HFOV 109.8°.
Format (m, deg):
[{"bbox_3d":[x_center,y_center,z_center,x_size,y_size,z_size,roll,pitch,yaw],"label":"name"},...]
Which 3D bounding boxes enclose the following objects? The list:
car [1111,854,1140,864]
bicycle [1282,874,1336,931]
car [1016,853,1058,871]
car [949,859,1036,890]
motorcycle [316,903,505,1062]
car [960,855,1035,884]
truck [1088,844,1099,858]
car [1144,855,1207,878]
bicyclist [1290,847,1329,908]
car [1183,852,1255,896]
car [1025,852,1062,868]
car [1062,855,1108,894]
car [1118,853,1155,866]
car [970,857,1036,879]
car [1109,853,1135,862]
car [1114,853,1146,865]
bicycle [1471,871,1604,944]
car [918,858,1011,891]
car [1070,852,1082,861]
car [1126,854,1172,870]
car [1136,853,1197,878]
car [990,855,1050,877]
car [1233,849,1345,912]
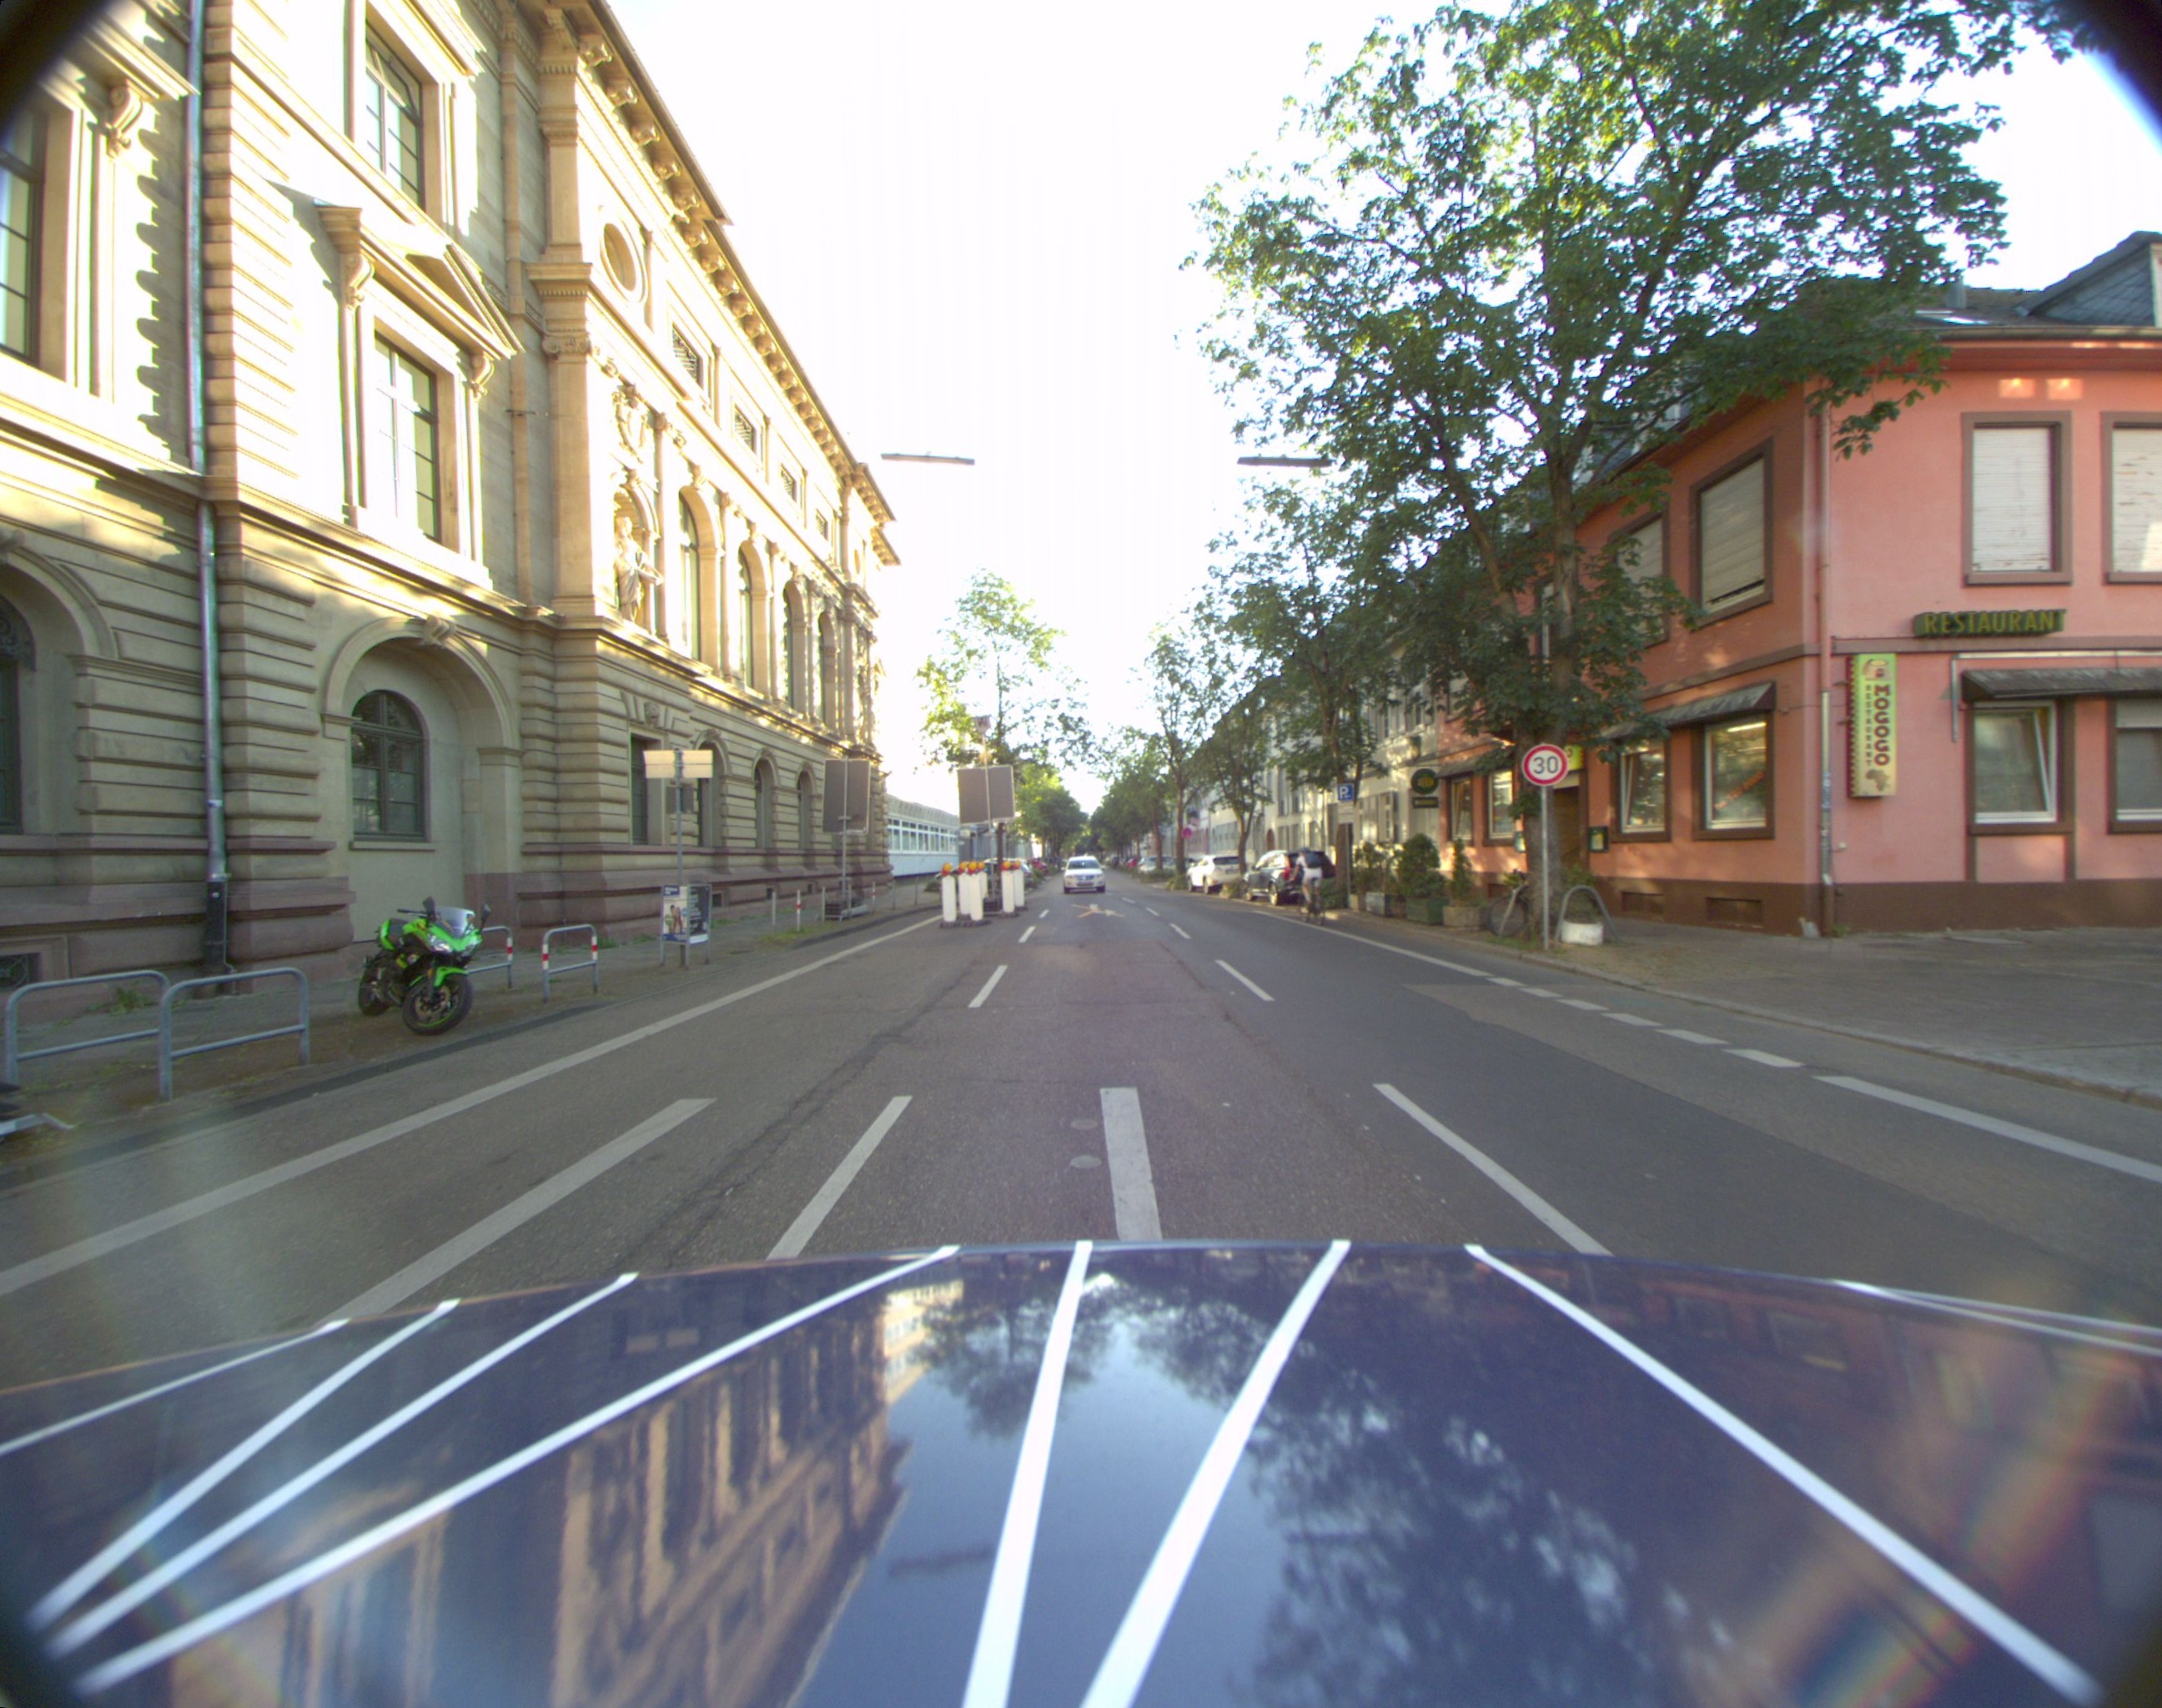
[{"bbox_3d":[6.695,0.693,115.864,4.230,1.468,1.969,-1,0,-2],"label":"car"},{"bbox_3d":[5.297,1.096,17.774,0.626,1.149,2.052,-1,2,-1],"label":"bicycle"},{"bbox_3d":[-4.667,0.813,80.498,4.369,1.768,1.733,1,0,-2],"label":"car"},{"bbox_3d":[-4.615,1.053,40.186,4.368,1.486,1.672,1,0,0],"label":"car"},{"bbox_3d":[-6.421,1.139,7.245,2.098,1.208,0.711,1,1,30],"label":"motorcycle"},{"bbox_3d":[-5.061,0.912,46.653,4.369,1.633,2.054,1,0,-2],"label":"car"},{"bbox_3d":[3.506,-0.750,206.905,2.748,3.723,7.855,-1,0,2],"label":"truck"},{"bbox_3d":[6.513,0.871,52.789,4.228,1.536,1.801,-1,0,3],"label":"car"},{"bbox_3d":[5.294,0.527,17.650,0.626,1.357,0.929,-1,2,0],"label":"bicyclist"},{"bbox_3d":[6.064,0.828,34.048,1.833,1.658,4.654,-5,1,-6],"label":"car"},{"bbox_3d":[-4.509,0.735,92.139,4.369,1.862,1.733,0,0,-2],"label":"car"},{"bbox_3d":[0.202,0.895,35.342,1.957,1.667,4.542,-1,0,1],"label":"car"},{"bbox_3d":[6.763,0.693,92.583,4.230,1.509,1.759,-1,0,-2],"label":"car"},{"bbox_3d":[-5.355,0.971,52.568,4.369,1.485,1.886,1,0,-2],"label":"car"},{"bbox_3d":[6.934,0.631,129.860,4.230,1.468,1.969,-1,0,-2],"label":"car"},{"bbox_3d":[6.624,0.685,103.243,4.230,1.468,1.853,-1,0,-2],"label":"car"},{"bbox_3d":[7.489,0.867,12.486,1.872,1.098,0.610,-1,1,-6],"label":"bicycle"},{"bbox_3d":[-5.694,0.991,37.562,4.369,1.455,1.833,1,0,-4],"label":"car"},{"bbox_3d":[-0.798,0.429,125.664,1.951,1.546,3.999,-1,0,-1],"label":"car"},{"bbox_3d":[6.561,0.780,73.707,4.230,1.499,1.800,-1,0,-2],"label":"car"},{"bbox_3d":[6.210,0.813,55.525,4.230,1.680,1.800,-1,0,-2],"label":"car"},{"bbox_3d":[-4.587,0.889,57.576,4.369,1.615,1.733,1,0,-2],"label":"car"},{"bbox_3d":[6.798,0.792,25.501,1.833,1.749,5.046,-5,1,-6],"label":"car"}]
